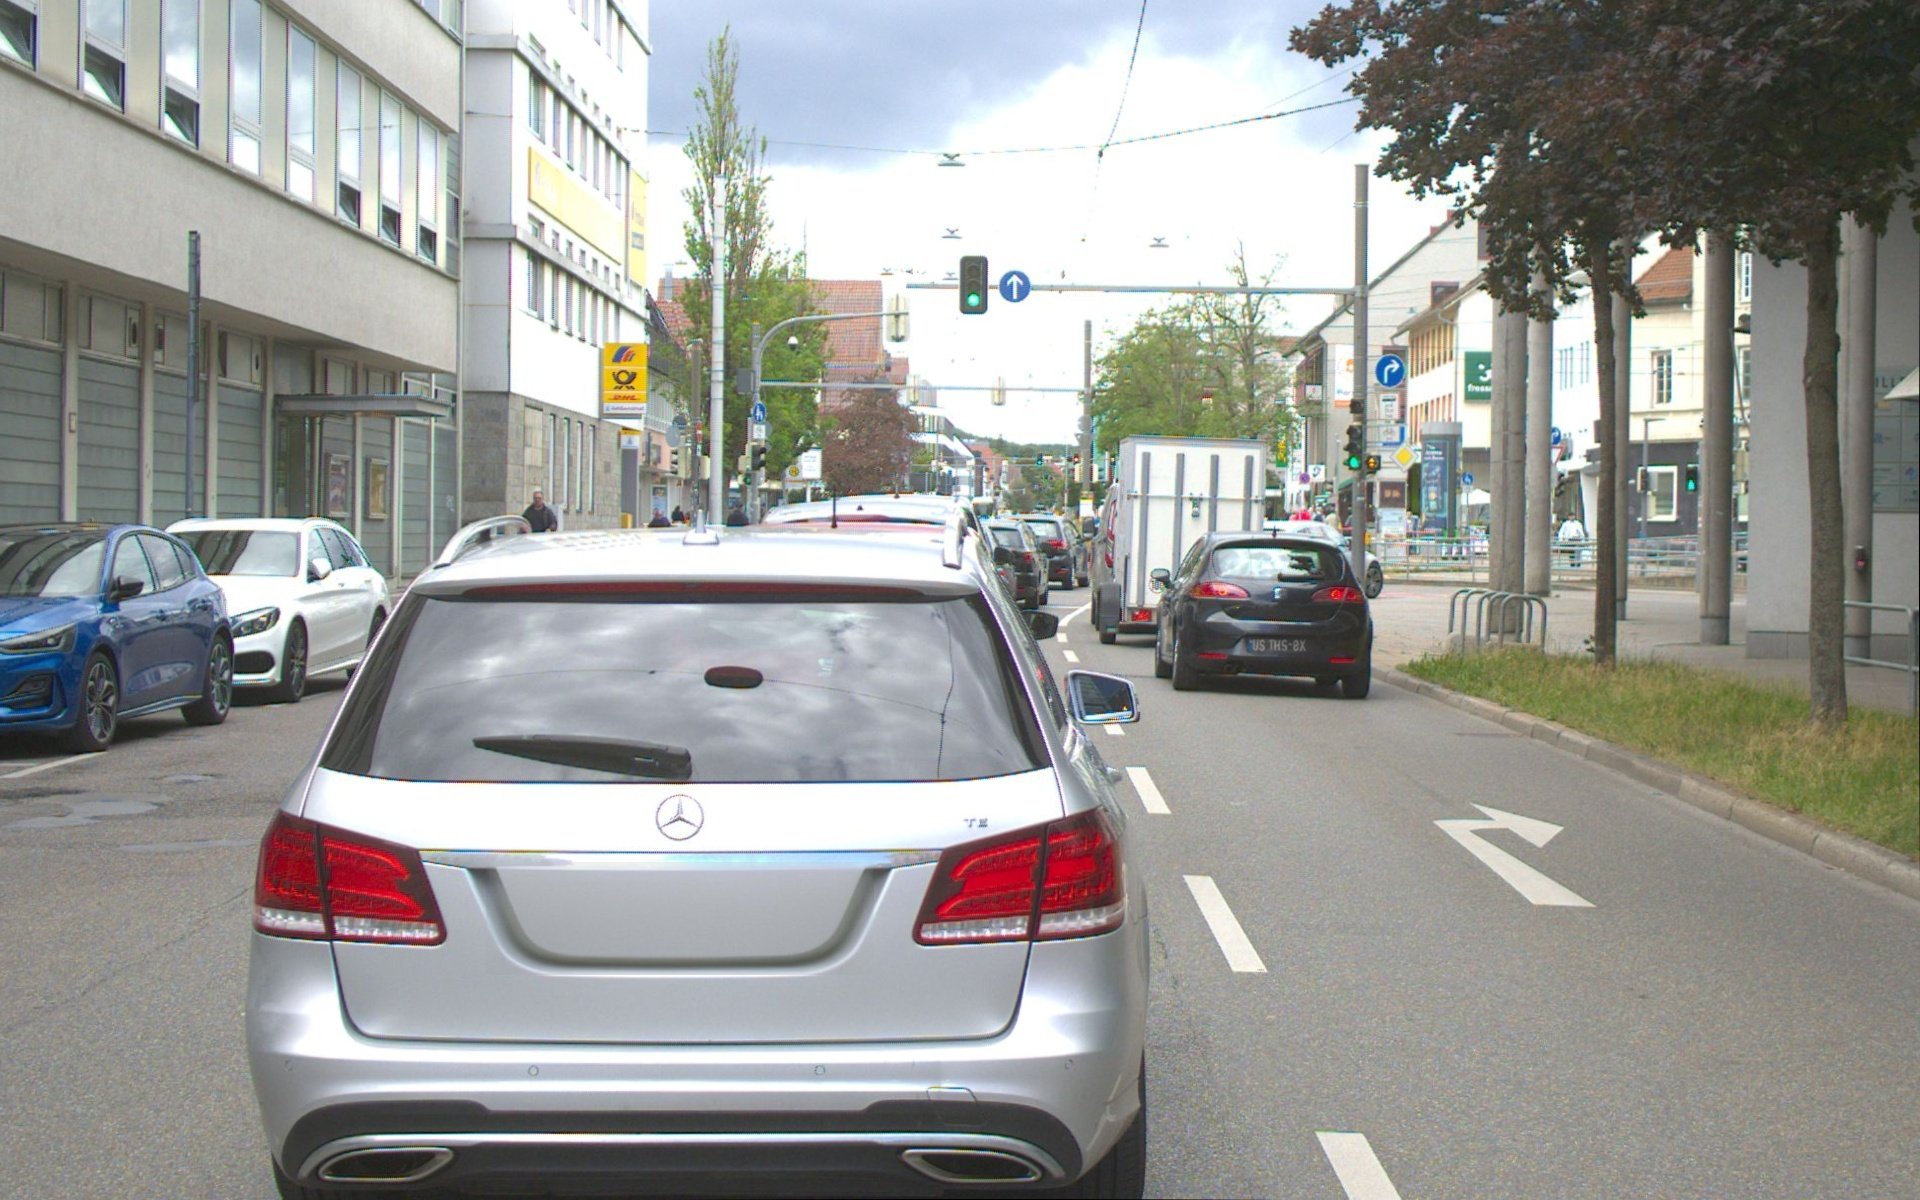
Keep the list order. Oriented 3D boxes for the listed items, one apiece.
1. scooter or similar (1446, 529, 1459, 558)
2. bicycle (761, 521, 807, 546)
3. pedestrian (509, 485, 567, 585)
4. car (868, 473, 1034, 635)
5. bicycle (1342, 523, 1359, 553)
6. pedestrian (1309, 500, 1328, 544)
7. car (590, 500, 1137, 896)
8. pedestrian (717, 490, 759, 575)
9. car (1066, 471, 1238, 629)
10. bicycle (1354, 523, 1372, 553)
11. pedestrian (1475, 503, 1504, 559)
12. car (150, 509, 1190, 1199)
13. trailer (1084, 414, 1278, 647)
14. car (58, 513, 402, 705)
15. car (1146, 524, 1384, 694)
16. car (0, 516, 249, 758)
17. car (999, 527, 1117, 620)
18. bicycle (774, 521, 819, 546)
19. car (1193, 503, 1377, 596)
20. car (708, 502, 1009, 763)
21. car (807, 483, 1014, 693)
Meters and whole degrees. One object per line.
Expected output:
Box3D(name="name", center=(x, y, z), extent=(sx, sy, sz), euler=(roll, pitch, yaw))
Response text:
Box3D(name="scooter or similar", center=(17.292, -1.973, 120.688), extent=(0.271, 0.998, 1.029), euler=(1, 1, -2))
Box3D(name="bicycle", center=(-7.694, -2.903, 149.939), extent=(1.937, 1.025, 0.530), euler=(2, 1, -8))
Box3D(name="pedestrian", center=(-7.410, -1.151, 60.377), extent=(0.861, 1.712, 1.032), euler=(2, 1, -1))
Box3D(name="car", center=(-0.125, -0.565, 40.107), extent=(1.828, 1.779, 4.000), euler=(1, 1, -1))
Box3D(name="bicycle", center=(14.544, -2.323, 127.980), extent=(0.448, 1.087, 2.149), euler=(1, 1, 2))
Box3D(name="pedestrian", center=(13.641, -2.975, 130.987), extent=(0.578, 1.660, 0.651), euler=(2, 1, -2))
Box3D(name="car", center=(-0.287, 0.329, 15.332), extent=(1.735, 1.503, 3.999), euler=(1, 1, 9))
Box3D(name="pedestrian", center=(-4.569, -1.393, 70.730), extent=(0.648, 1.712, 0.782), euler=(2, 2, 8))
Box3D(name="car", center=(2.540, -0.709, 46.616), extent=(1.877, 1.939, 4.907), euler=(3, 1, -1))
Box3D(name="bicycle", center=(14.993, -2.326, 127.967), extent=(0.448, 1.103, 2.149), euler=(1, 1, 2))
Box3D(name="pedestrian", center=(16.061, -2.093, 104.256), extent=(0.649, 1.712, 0.703), euler=(1, 2, 31))
Box3D(name="car", center=(-0.556, 0.541, 8.217), extent=(1.845, 1.503, 4.171), euler=(0, 1, -1))
Box3D(name="trailer", center=(2.636, -0.863, 42.004), extent=(1.877, 2.604, 4.323), euler=(3, 1, -1))
Box3D(name="car", center=(-5.940, 0.012, 28.507), extent=(1.670, 1.429, 4.553), euler=(-1, 2, 3))
Box3D(name="car", center=(2.716, 0.034, 31.425), extent=(1.734, 1.405, 4.001), euler=(0, 2, -1))
Box3D(name="car", center=(-6.140, 0.180, 22.681), extent=(1.815, 1.421, 4.264), euler=(-1, 2, 3))
Box3D(name="car", center=(1.566, -0.462, 56.104), extent=(1.734, 1.405, 4.001), euler=(0, 2, -1))
Box3D(name="bicycle", center=(-7.324, -2.982, 153.914), extent=(1.937, 1.025, 0.530), euler=(2, 1, -8))
Box3D(name="car", center=(6.176, -0.928, 64.849), extent=(1.737, 1.600, 4.553), euler=(4, 2, 28))
Box3D(name="car", center=(-0.629, 0.139, 21.941), extent=(1.734, 1.503, 4.001), euler=(0, 1, -1))
Box3D(name="car", center=(-0.453, -0.154, 30.951), extent=(1.734, 1.753, 4.001), euler=(0, 1, -1))
